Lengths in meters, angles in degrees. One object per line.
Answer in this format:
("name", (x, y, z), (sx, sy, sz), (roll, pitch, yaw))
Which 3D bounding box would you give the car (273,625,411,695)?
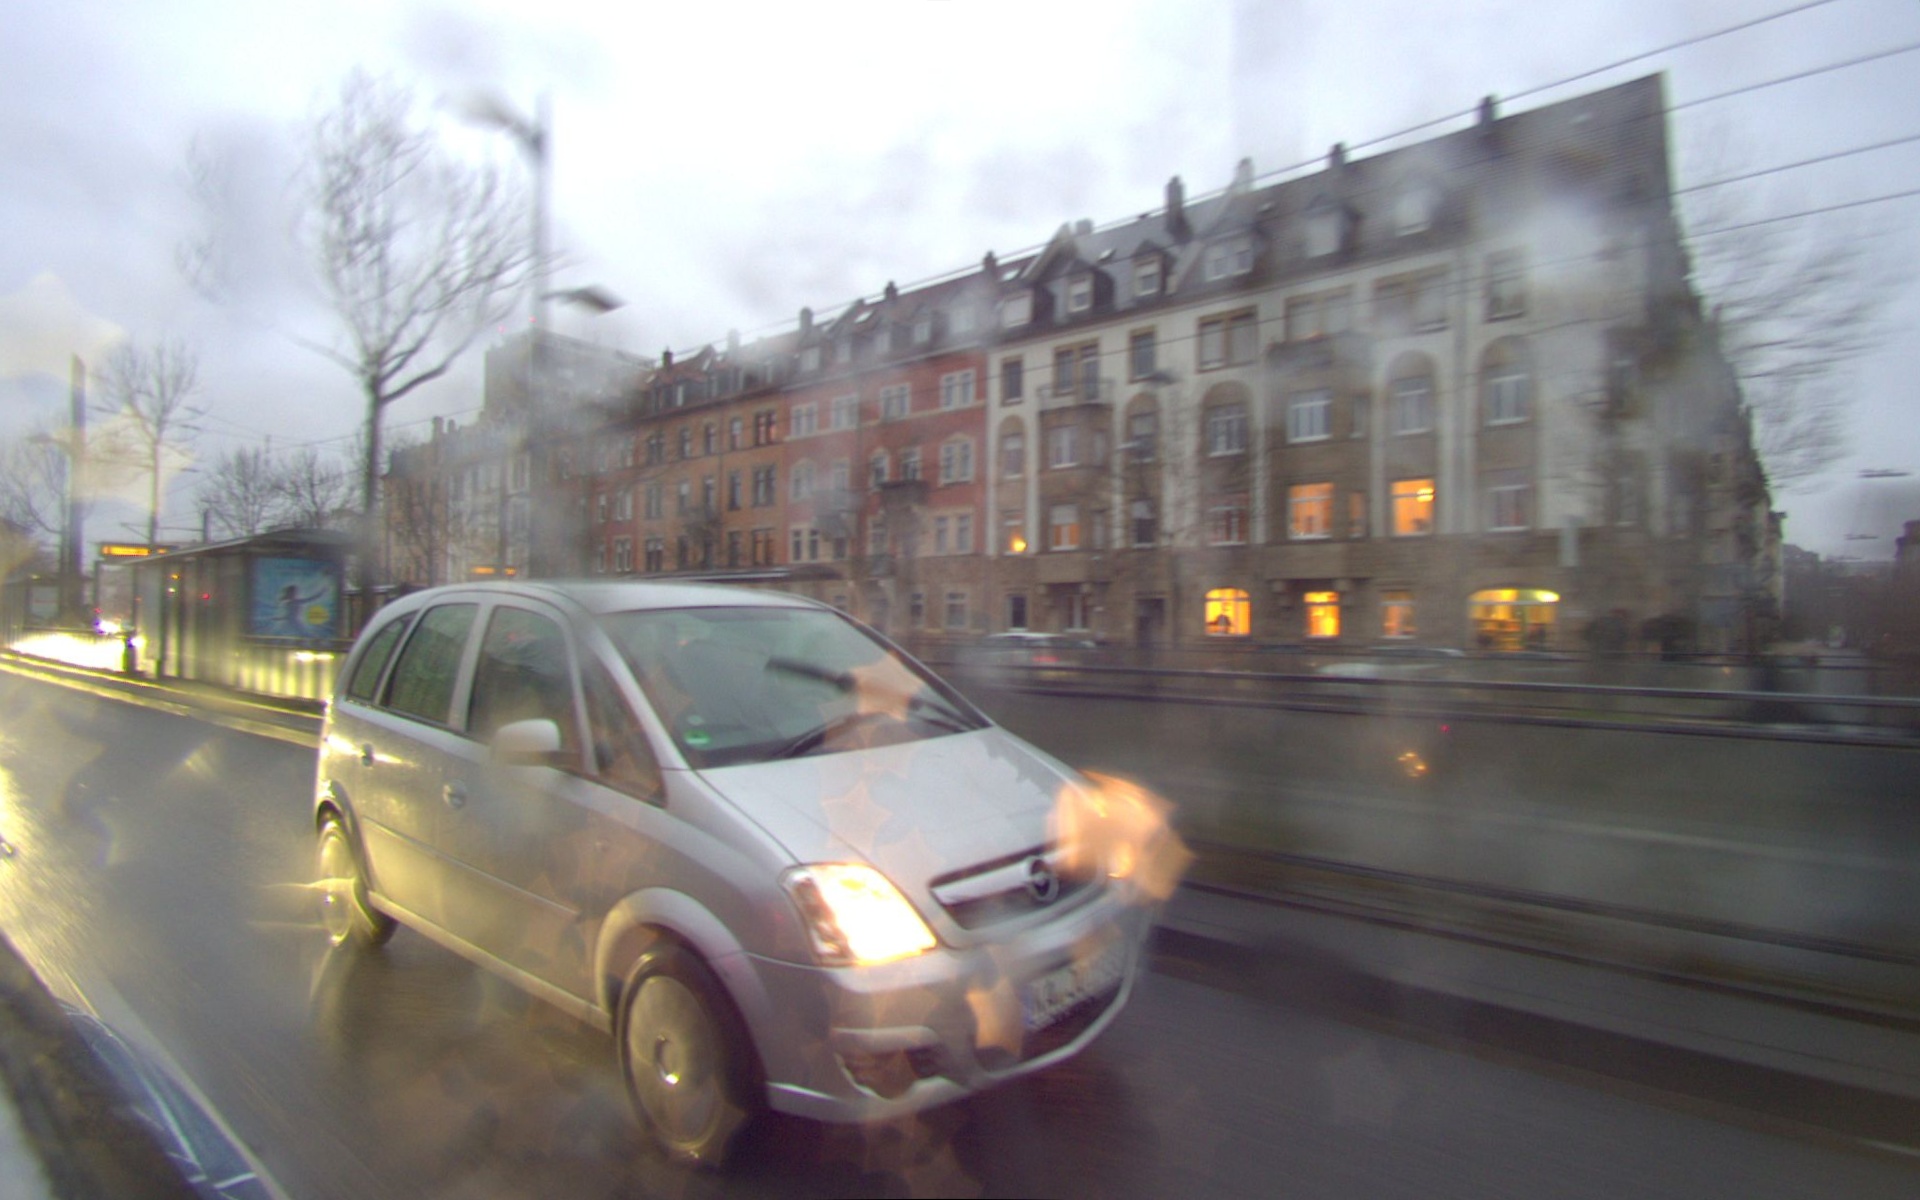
("car", (-14.702, 1.377, 23.989), (3.998, 1.497, 1.646), (-1, -3, 41))

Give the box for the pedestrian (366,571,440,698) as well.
("pedestrian", (-9.265, 0.584, 16.826), (0.864, 2.029, 0.932), (3, -4, -38))

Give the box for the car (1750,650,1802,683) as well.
("car", (28.861, 2.339, 35.762), (1.330, 1.083, 2.860), (-1, -3, 40))

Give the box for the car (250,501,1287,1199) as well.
("car", (-1.030, 0.644, 3.982), (4.048, 1.612, 1.792), (-1, -1, 38))

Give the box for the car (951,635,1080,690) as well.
("car", (1.526, 1.706, 28.136), (3.258, 1.418, 1.660), (-1, -4, 41))
